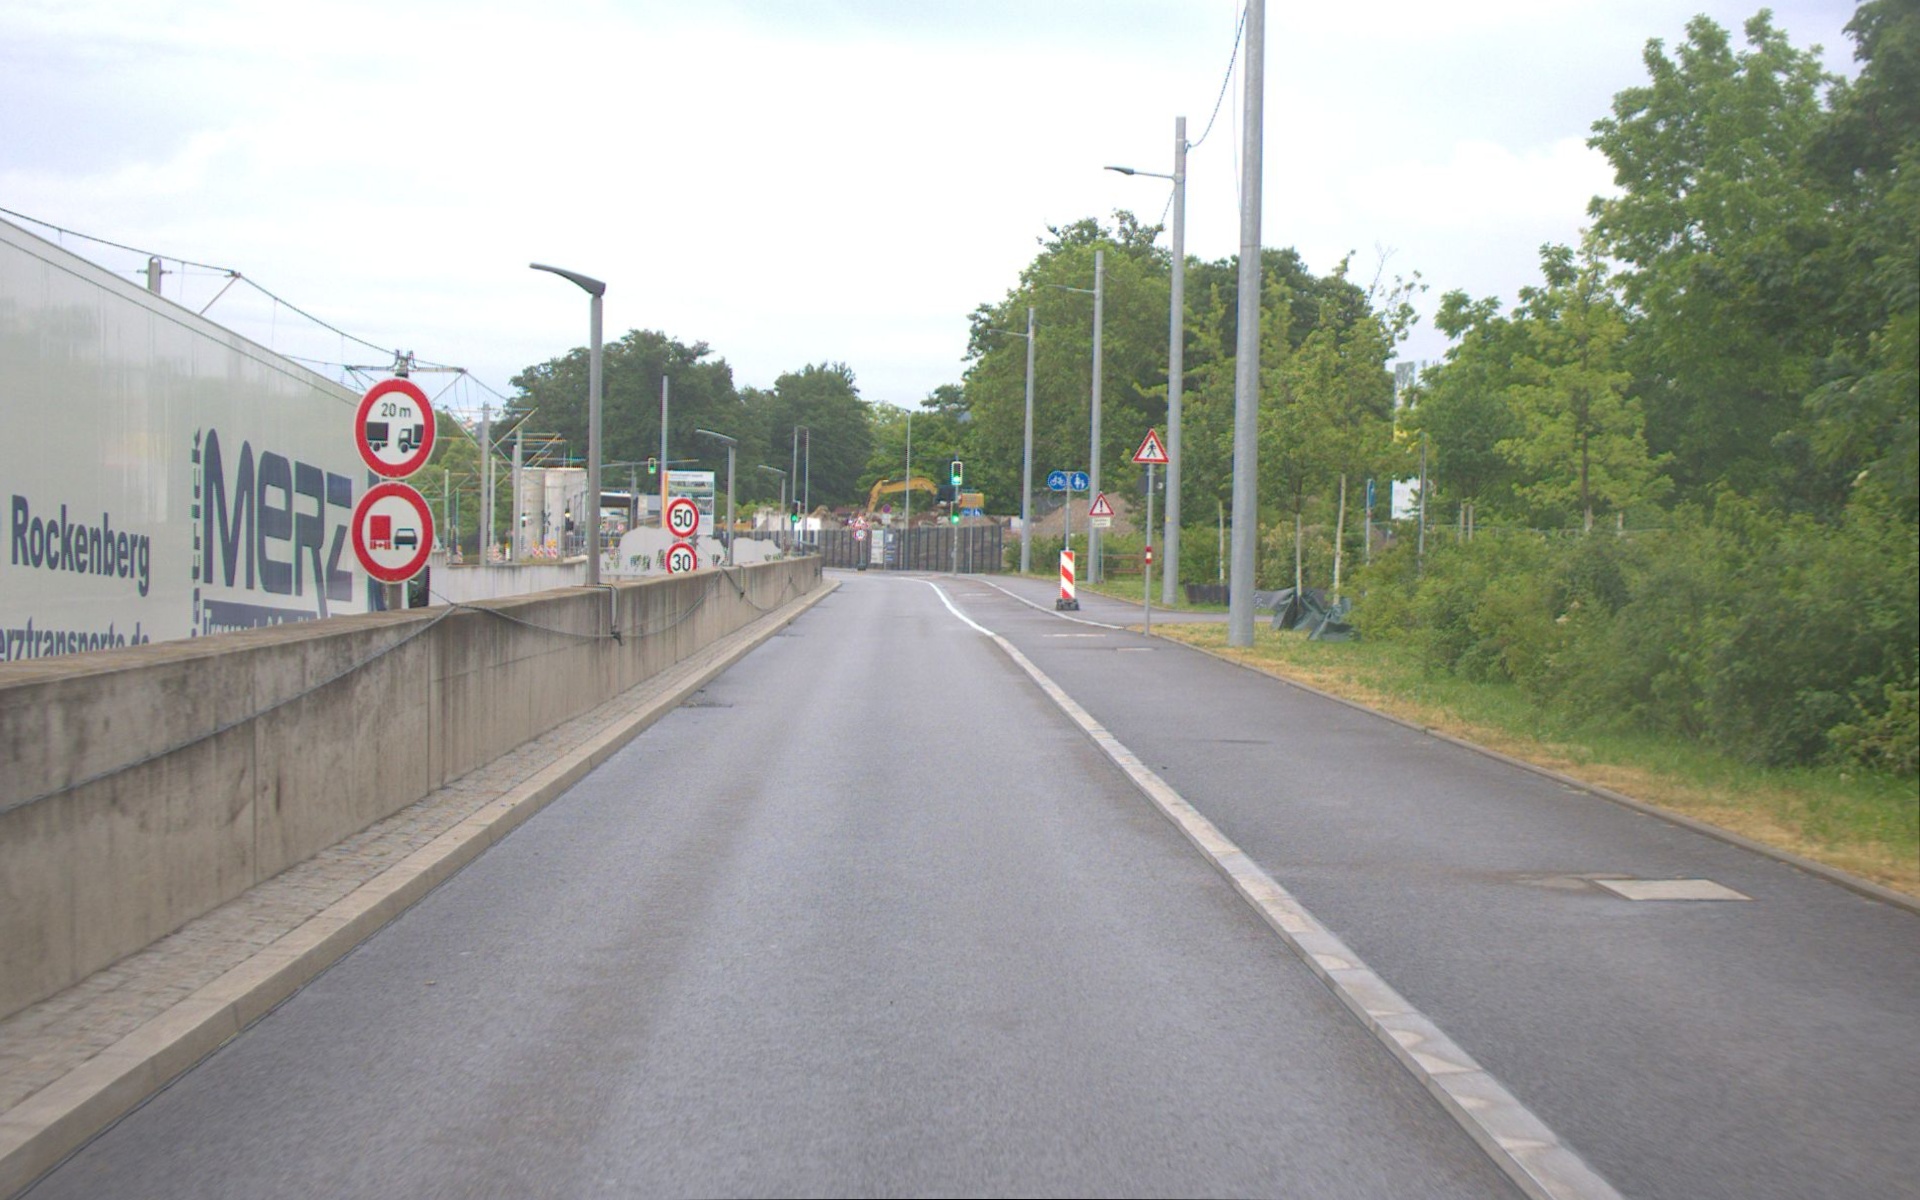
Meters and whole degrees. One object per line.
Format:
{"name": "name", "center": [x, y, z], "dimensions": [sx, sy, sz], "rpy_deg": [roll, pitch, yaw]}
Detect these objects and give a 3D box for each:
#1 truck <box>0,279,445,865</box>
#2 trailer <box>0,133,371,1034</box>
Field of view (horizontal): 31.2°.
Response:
{"name": "truck", "center": [-6.022, -0.264, 27.885], "dimensions": [2.756, 4.190, 6.307], "rpy_deg": [-1, 1, -1]}
{"name": "trailer", "center": [-5.938, -0.154, 20.187], "dimensions": [2.762, 4.238, 13.184], "rpy_deg": [-1, 1, -1]}
